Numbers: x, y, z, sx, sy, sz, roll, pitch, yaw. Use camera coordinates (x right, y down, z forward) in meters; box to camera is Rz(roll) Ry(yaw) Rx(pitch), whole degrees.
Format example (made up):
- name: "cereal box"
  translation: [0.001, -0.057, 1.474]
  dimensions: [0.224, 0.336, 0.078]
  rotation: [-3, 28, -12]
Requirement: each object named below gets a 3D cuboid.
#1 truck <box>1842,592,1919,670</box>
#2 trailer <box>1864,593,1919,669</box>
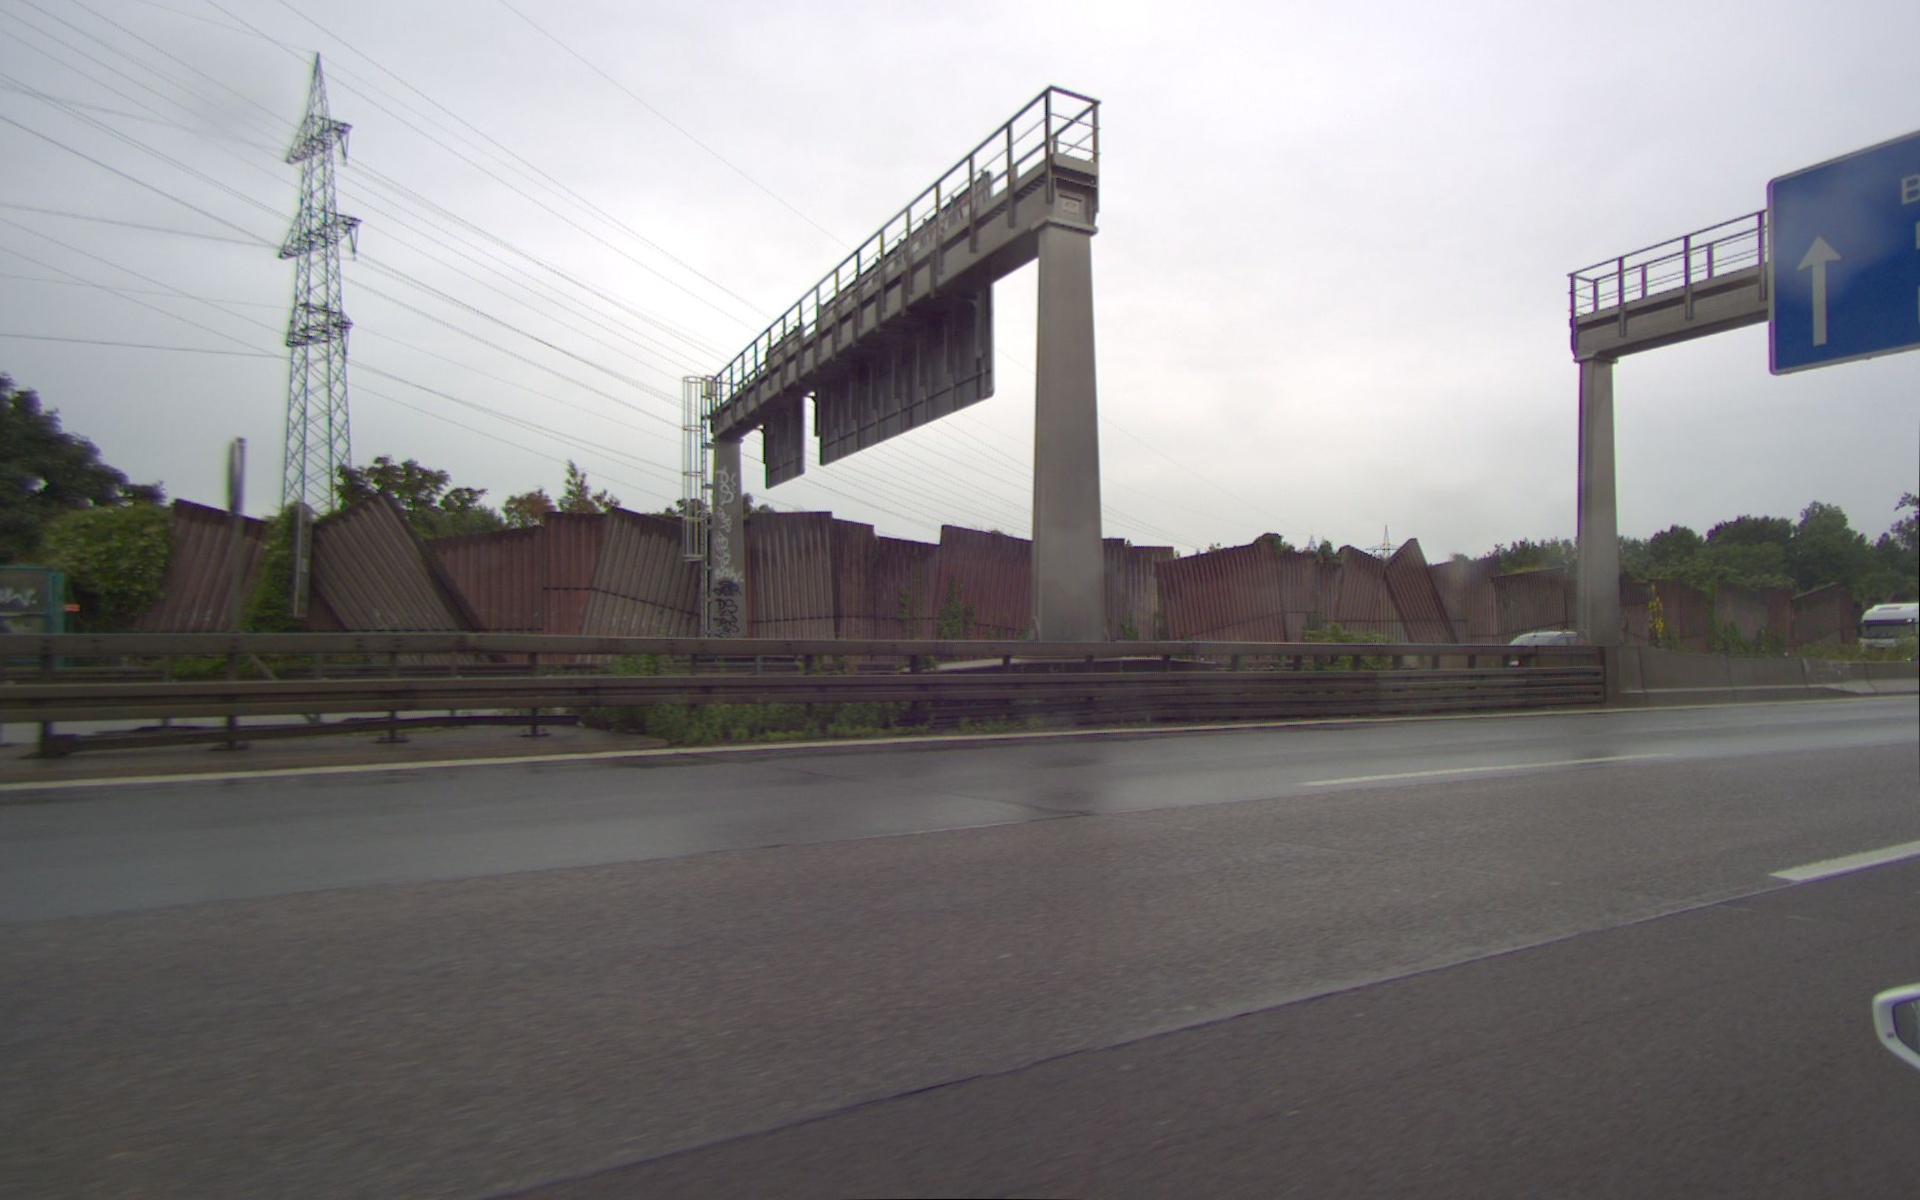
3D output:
- name: "truck"
  translation: [54.401, 1.765, 57.765]
  dimensions: [7.792, 4.242, 3.043]
  rotation: [2, 0, -29]
- name: "trailer"
  translation: [59.397, 1.911, 60.581]
  dimensions: [13.406, 4.242, 3.043]
  rotation: [2, 0, -29]
